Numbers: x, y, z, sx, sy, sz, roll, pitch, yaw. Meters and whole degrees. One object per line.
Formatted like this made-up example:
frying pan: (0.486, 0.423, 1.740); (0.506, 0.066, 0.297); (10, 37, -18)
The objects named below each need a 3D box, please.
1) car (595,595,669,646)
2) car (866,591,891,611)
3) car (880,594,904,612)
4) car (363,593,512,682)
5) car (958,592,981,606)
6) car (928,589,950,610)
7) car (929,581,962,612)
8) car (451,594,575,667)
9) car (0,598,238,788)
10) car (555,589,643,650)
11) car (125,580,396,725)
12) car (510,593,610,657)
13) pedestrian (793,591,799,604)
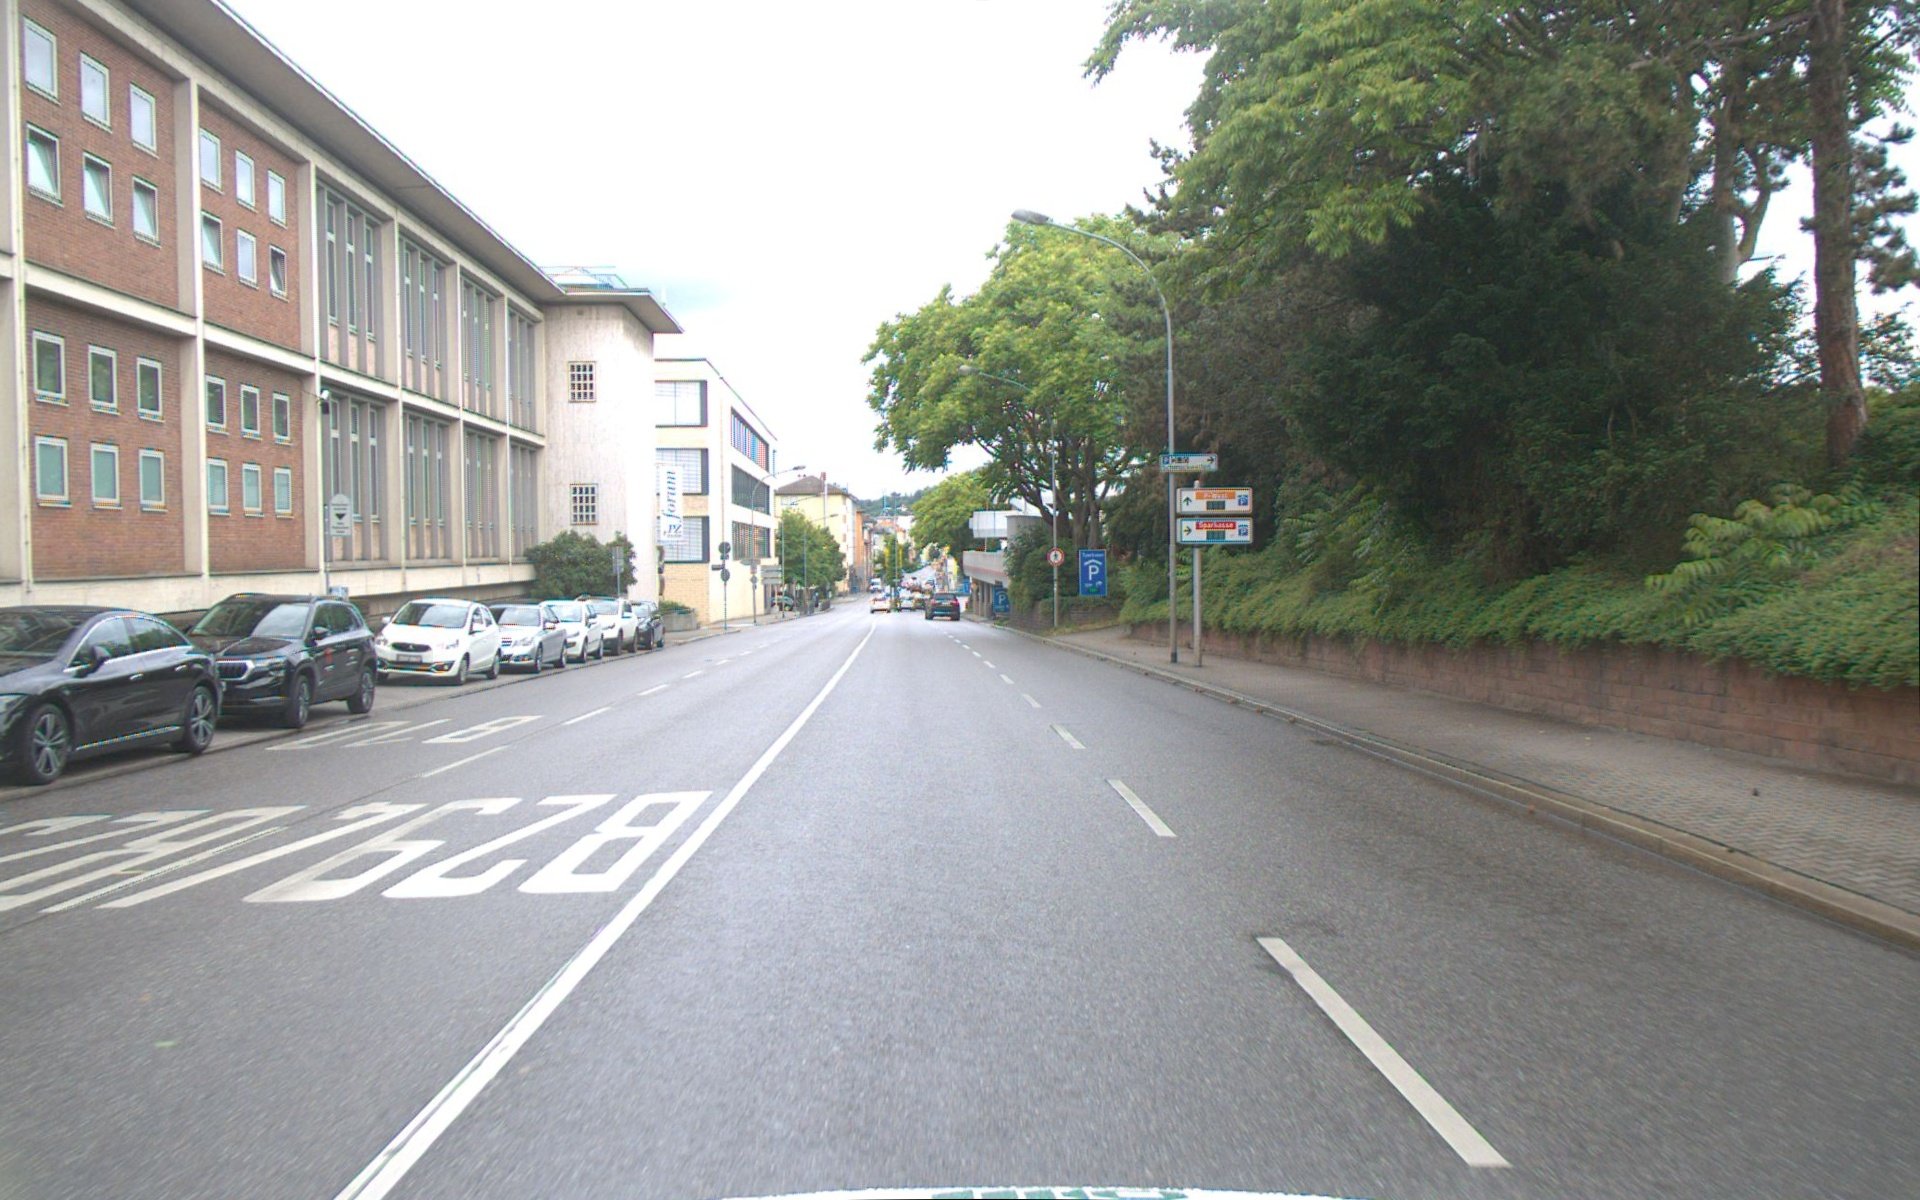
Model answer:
car: (-10.321, 0.611, 52.324); (1.713, 1.505, 4.178); (2, 0, -3)
car: (-7.337, 0.087, 149.218); (1.955, 1.709, 3.994); (0, 0, -7)
car: (-6.464, 0.270, 157.196); (1.956, 1.709, 3.994); (0, 0, -7)
car: (-9.753, 0.655, 31.150); (1.645, 1.549, 3.919); (0, 0, -2)
car: (1.144, -0.121, 199.037); (1.951, 1.709, 4.004); (0, 0, 11)
car: (-2.123, -0.017, 164.808); (2.129, 2.039, 3.999); (0, 0, -1)
car: (-0.936, -0.208, 105.901); (2.049, 1.944, 4.098); (0, 0, -1)
car: (-9.751, 0.638, 36.376); (1.713, 1.460, 4.483); (2, 0, -3)
car: (-8.803, 0.766, 15.683); (1.778, 1.510, 4.909); (0, 1, -1)
car: (-10.234, 0.527, 47.141); (1.713, 1.625, 4.179); (2, 0, -2)
car: (-9.068, 0.635, 21.887); (1.804, 1.682, 4.513); (1, 0, -3)
car: (-10.052, 0.603, 41.831); (1.713, 1.479, 4.178); (2, 0, -3)
pedestrian: (-16.923, -0.288, 170.704); (0.444, 1.301, 0.454); (0, 0, 9)
